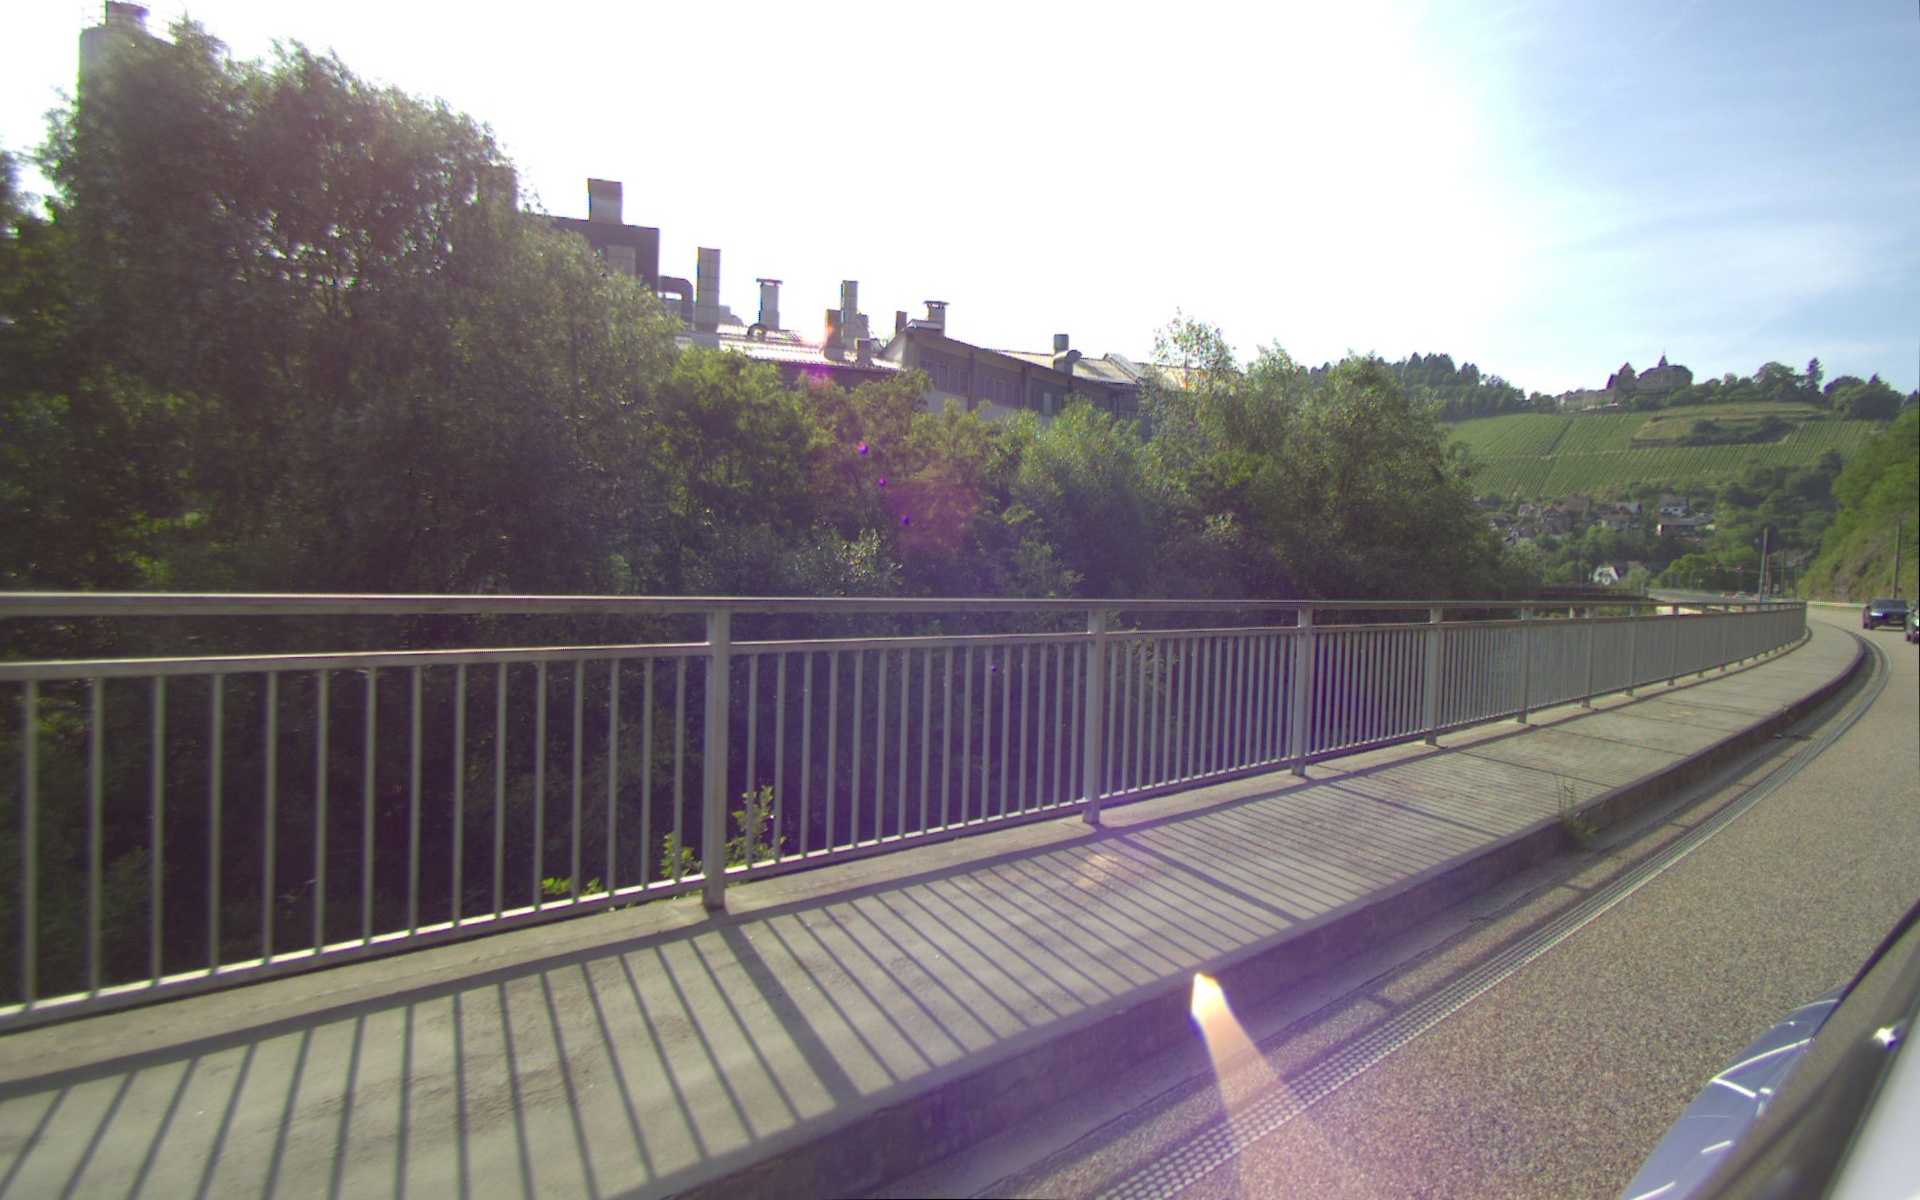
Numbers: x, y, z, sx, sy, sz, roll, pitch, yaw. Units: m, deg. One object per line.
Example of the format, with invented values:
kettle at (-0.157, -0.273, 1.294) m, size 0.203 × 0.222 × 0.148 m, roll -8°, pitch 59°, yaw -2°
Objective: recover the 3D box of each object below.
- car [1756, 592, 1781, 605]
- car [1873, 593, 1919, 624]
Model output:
car at (100.552, -0.165, 125.948) m, size 1.839 × 1.420 × 4.425 m, roll 1°, pitch 0°, yaw 31°
car at (48.179, 0.452, 51.600) m, size 1.991 × 1.409 × 3.945 m, roll 7°, pitch 4°, yaw 38°
